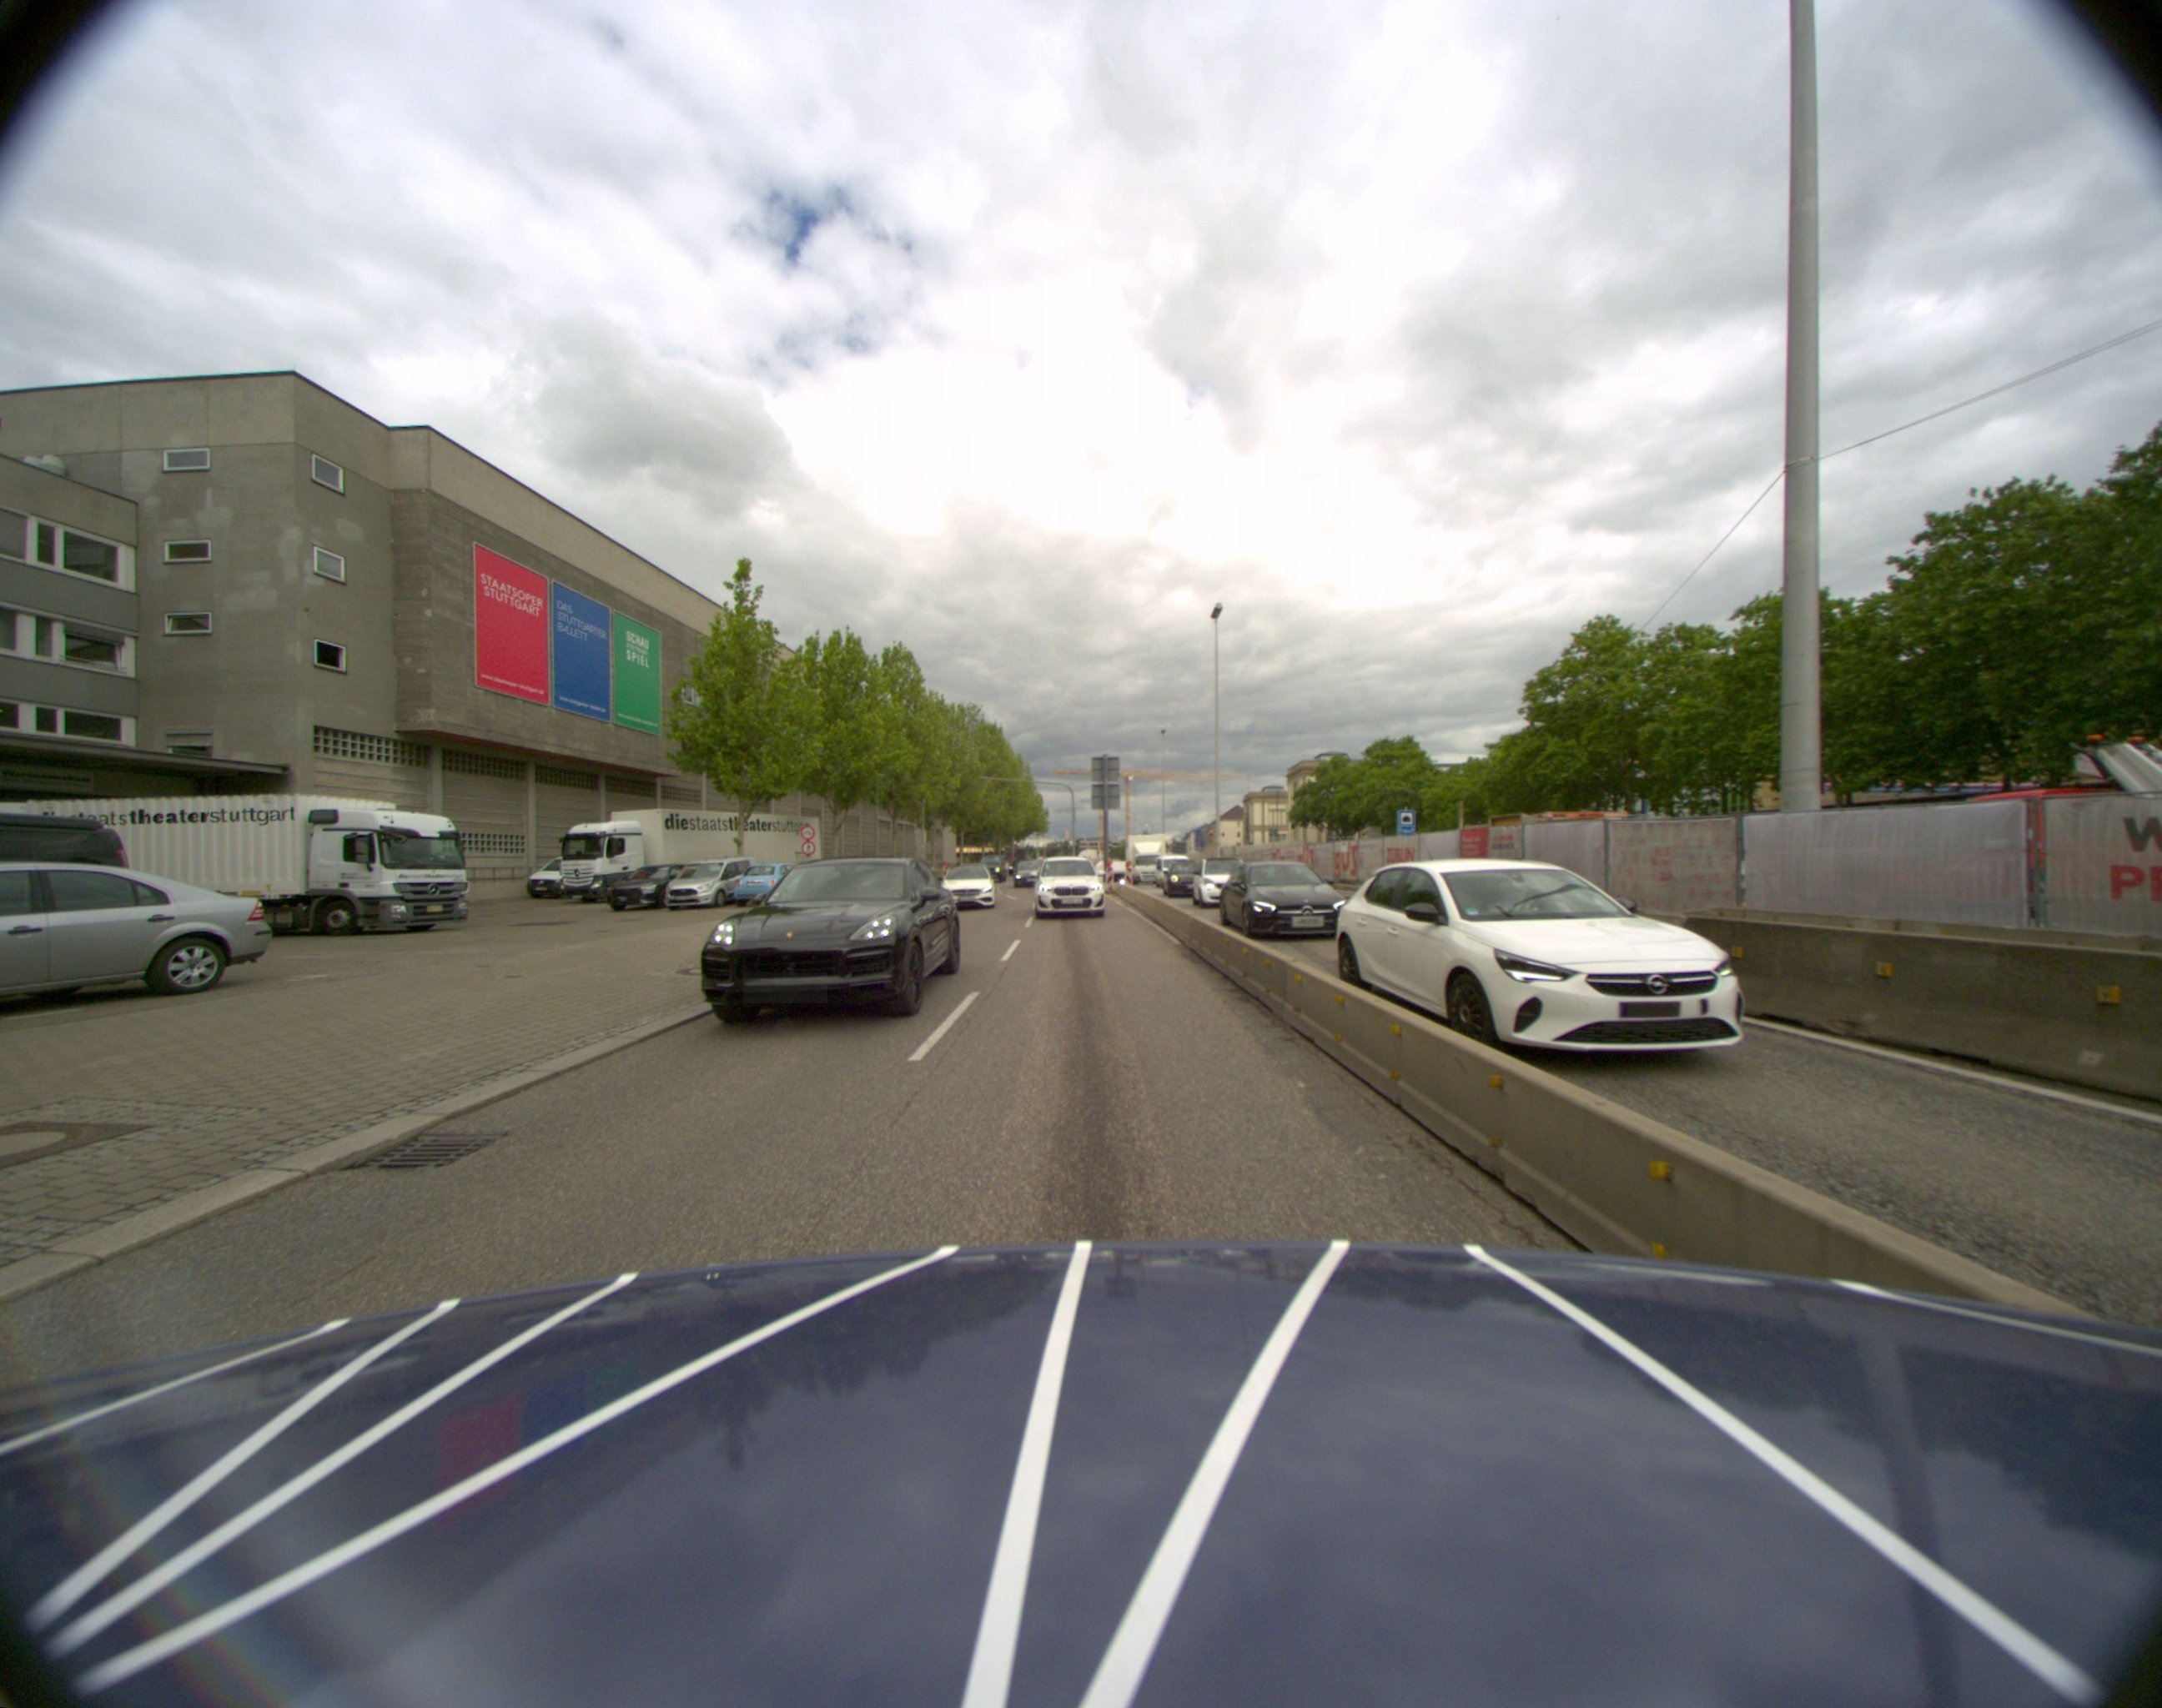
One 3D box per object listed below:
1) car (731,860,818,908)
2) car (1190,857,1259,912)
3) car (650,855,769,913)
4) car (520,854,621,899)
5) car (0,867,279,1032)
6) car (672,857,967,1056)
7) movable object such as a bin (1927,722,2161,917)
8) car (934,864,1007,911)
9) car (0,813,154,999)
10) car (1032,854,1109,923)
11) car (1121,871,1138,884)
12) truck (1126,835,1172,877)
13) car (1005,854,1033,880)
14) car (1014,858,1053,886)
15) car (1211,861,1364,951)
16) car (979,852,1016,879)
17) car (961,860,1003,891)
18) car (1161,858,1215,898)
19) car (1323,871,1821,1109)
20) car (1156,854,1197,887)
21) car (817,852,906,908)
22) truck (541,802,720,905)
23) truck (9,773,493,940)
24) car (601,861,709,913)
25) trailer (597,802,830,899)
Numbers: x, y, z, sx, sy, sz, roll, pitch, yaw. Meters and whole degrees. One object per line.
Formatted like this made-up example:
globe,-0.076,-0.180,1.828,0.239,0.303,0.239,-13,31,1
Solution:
car,-10.877,1.028,27.208,1.584,1.521,3.504,-2,0,1
car,4.425,0.889,23.780,1.634,1.546,3.002,-2,0,1
car,-13.331,1.005,27.622,1.809,1.773,4.621,-4,0,1
car,-23.435,0.992,35.068,1.558,1.871,4.002,-2,0,7
car,-10.590,0.895,6.827,1.782,1.460,4.576,-2,0,2
car,-2.599,0.907,8.745,1.908,1.648,4.200,-2,0,0
movable object such as a bin,12.776,-0.392,9.129,1.525,2.172,3.292,-1,0,-1
car,-3.695,1.090,26.184,1.935,1.368,3.999,-2,0,-1
car,-13.011,0.594,7.334,1.953,2.056,4.917,-2,0,2
car,-0.298,0.866,21.383,1.856,1.618,4.905,-2,0,-1
car,6.705,3.245,105.136,1.873,1.499,3.999,-3,0,-3
truck,4.764,0.119,54.171,2.977,2.757,7.256,-1,0,3
car,-5.072,1.027,62.564,1.999,2.002,3.999,-2,0,-1
car,-2.630,0.981,43.019,1.802,1.429,4.020,-2,0,1
car,3.891,0.903,15.152,1.858,1.407,4.565,-2,0,1
car,-6.104,0.833,56.085,1.952,1.914,4.400,-1,0,4
car,-5.047,1.085,39.138,1.612,1.464,3.622,-1,0,1
car,4.267,0.922,30.791,1.651,1.430,3.935,-2,0,1
car,3.650,0.877,6.626,1.731,1.288,3.934,-2,0,-1
car,5.223,0.877,42.215,1.842,1.751,4.480,-1,0,2
car,-7.483,0.847,26.348,1.809,1.728,4.485,-2,-1,-1
truck,-19.707,-0.043,33.831,3.137,4.061,6.578,-2,1,11
truck,-22.304,0.088,20.781,10.376,4.181,3.000,0,0,3
car,-15.552,1.166,27.998,1.719,1.679,3.761,-2,0,1
trailer,-18.402,-0.261,40.156,3.153,4.077,13.981,-3,0,11
